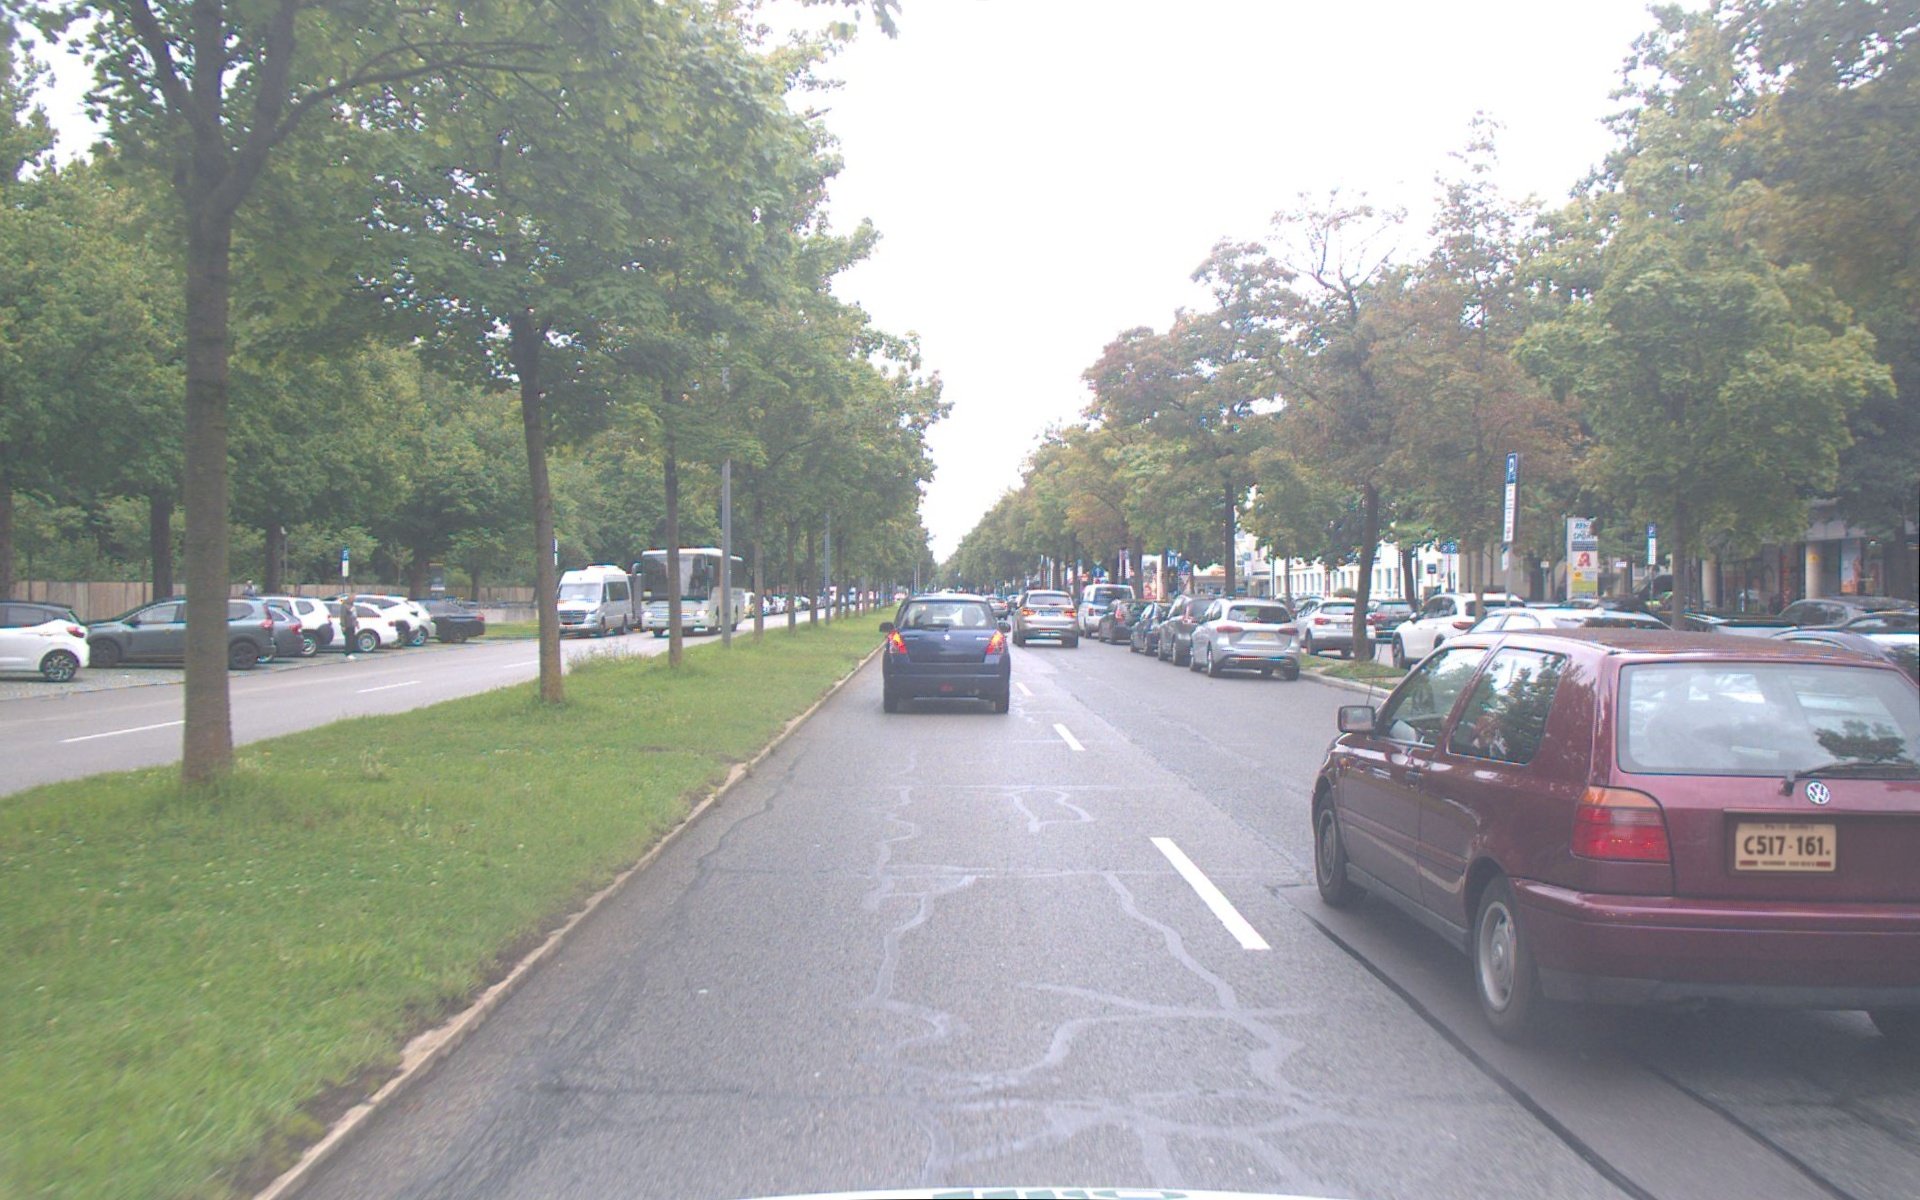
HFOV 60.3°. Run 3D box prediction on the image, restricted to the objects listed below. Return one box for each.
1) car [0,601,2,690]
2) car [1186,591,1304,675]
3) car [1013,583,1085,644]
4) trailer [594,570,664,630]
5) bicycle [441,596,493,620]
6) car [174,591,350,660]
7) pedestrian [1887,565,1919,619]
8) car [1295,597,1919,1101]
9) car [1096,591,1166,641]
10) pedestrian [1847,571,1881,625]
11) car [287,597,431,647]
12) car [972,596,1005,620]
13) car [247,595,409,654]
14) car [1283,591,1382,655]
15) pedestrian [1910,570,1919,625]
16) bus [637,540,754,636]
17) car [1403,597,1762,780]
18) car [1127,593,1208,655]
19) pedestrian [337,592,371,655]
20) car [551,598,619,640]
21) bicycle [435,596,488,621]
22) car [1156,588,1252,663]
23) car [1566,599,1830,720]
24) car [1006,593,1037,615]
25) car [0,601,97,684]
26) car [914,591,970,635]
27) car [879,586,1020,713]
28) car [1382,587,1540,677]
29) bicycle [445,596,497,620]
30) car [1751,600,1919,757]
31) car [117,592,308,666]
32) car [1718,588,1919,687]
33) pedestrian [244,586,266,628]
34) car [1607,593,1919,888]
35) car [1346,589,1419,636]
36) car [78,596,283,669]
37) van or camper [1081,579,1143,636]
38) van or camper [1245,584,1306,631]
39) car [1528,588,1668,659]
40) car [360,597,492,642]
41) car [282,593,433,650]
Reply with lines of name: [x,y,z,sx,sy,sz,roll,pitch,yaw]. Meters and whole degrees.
car: [-18.813,0.809,28.435,4.053,1.527,1.899,-1,0,-31]
car: [5.770,0.623,33.948,1.649,1.552,4.456,1,0,0]
car: [2.676,0.382,50.424,1.813,1.773,4.096,0,0,-2]
trailer: [-14.914,-0.012,74.851,2.063,2.585,5.576,0,0,0]
bicycle: [-25.166,0.398,84.403,2.447,1.164,0.654,1,0,1]
car: [-18.589,0.641,44.067,4.059,1.725,1.896,-1,0,-34]
pedestrian: [30.774,-0.259,53.464,0.996,1.734,1.046,1,0,-1]
car: [2.628,0.735,6.904,1.589,1.479,3.949,0,0,-1]
car: [5.637,0.498,54.966,1.651,1.581,4.303,0,0,-3]
pedestrian: [29.175,-0.074,53.376,0.666,1.734,0.697,1,0,-1]
car: [-19.345,0.676,53.307,4.059,1.500,1.896,-1,0,-34]
car: [1.766,0.472,102.214,1.813,1.472,4.096,0,0,-2]
car: [-18.206,0.675,47.708,4.059,1.612,1.896,-1,0,-34]
car: [9.708,0.566,43.383,1.650,1.613,4.027,0,0,-1]
pedestrian: [30.752,-0.083,52.286,0.943,1.734,0.798,1,0,-1]
bus: [-10.443,-0.484,66.651,2.682,3.436,12.013,-2,0,0]
car: [5.906,0.752,16.321,1.672,1.479,4.510,2,0,-2]
car: [5.542,0.596,44.531,1.649,1.581,4.306,0,0,0]
pedestrian: [-15.879,0.616,43.345,0.711,1.640,0.679,0,0,-9]
car: [-14.792,0.709,65.442,1.874,1.569,4.186,0,0,-2]
bicycle: [-25.197,0.429,83.621,2.447,1.164,0.600,1,0,1]
car: [5.760,0.560,39.469,1.649,1.654,4.306,1,0,0]
car: [10.024,0.732,22.897,1.649,1.479,4.735,0,0,1]
car: [4.228,0.271,113.529,1.813,1.472,4.096,0,0,-2]
car: [-18.811,0.804,31.576,4.053,1.527,1.899,-1,0,-31]
car: [-0.654,0.420,57.092,1.813,1.472,4.096,0,0,-2]
car: [-0.205,0.604,22.648,1.753,1.583,3.998,0,0,-2]
car: [9.882,0.576,32.971,1.650,1.661,4.779,0,0,-1]
bicycle: [-25.158,0.392,85.135,2.447,1.164,0.707,1,0,1]
car: [10.032,0.755,17.234,1.649,1.479,4.009,0,0,0]
car: [-18.436,0.669,40.820,4.059,1.725,1.896,-1,0,-34]
car: [15.739,0.623,30.130,1.650,1.661,4.496,0,0,-2]
pedestrian: [-27.334,0.272,64.124,0.671,1.640,0.685,0,0,-31]
car: [5.962,0.744,10.745,1.728,1.573,4.423,0,0,-1]
car: [14.920,0.416,58.610,1.649,1.613,4.028,0,0,1]
car: [-17.972,0.716,38.168,4.132,1.569,1.899,-1,0,-31]
van or camper: [5.573,0.259,61.117,1.904,2.009,4.306,0,0,0]
van or camper: [13.975,0.316,73.404,1.904,2.009,4.306,0,0,0]
car: [15.763,0.541,41.092,1.650,1.661,4.381,0,0,-2]
car: [-18.336,0.676,56.846,4.058,1.500,1.685,1,0,-34]
car: [-18.480,0.627,50.770,4.059,1.681,1.896,-1,0,-34]
